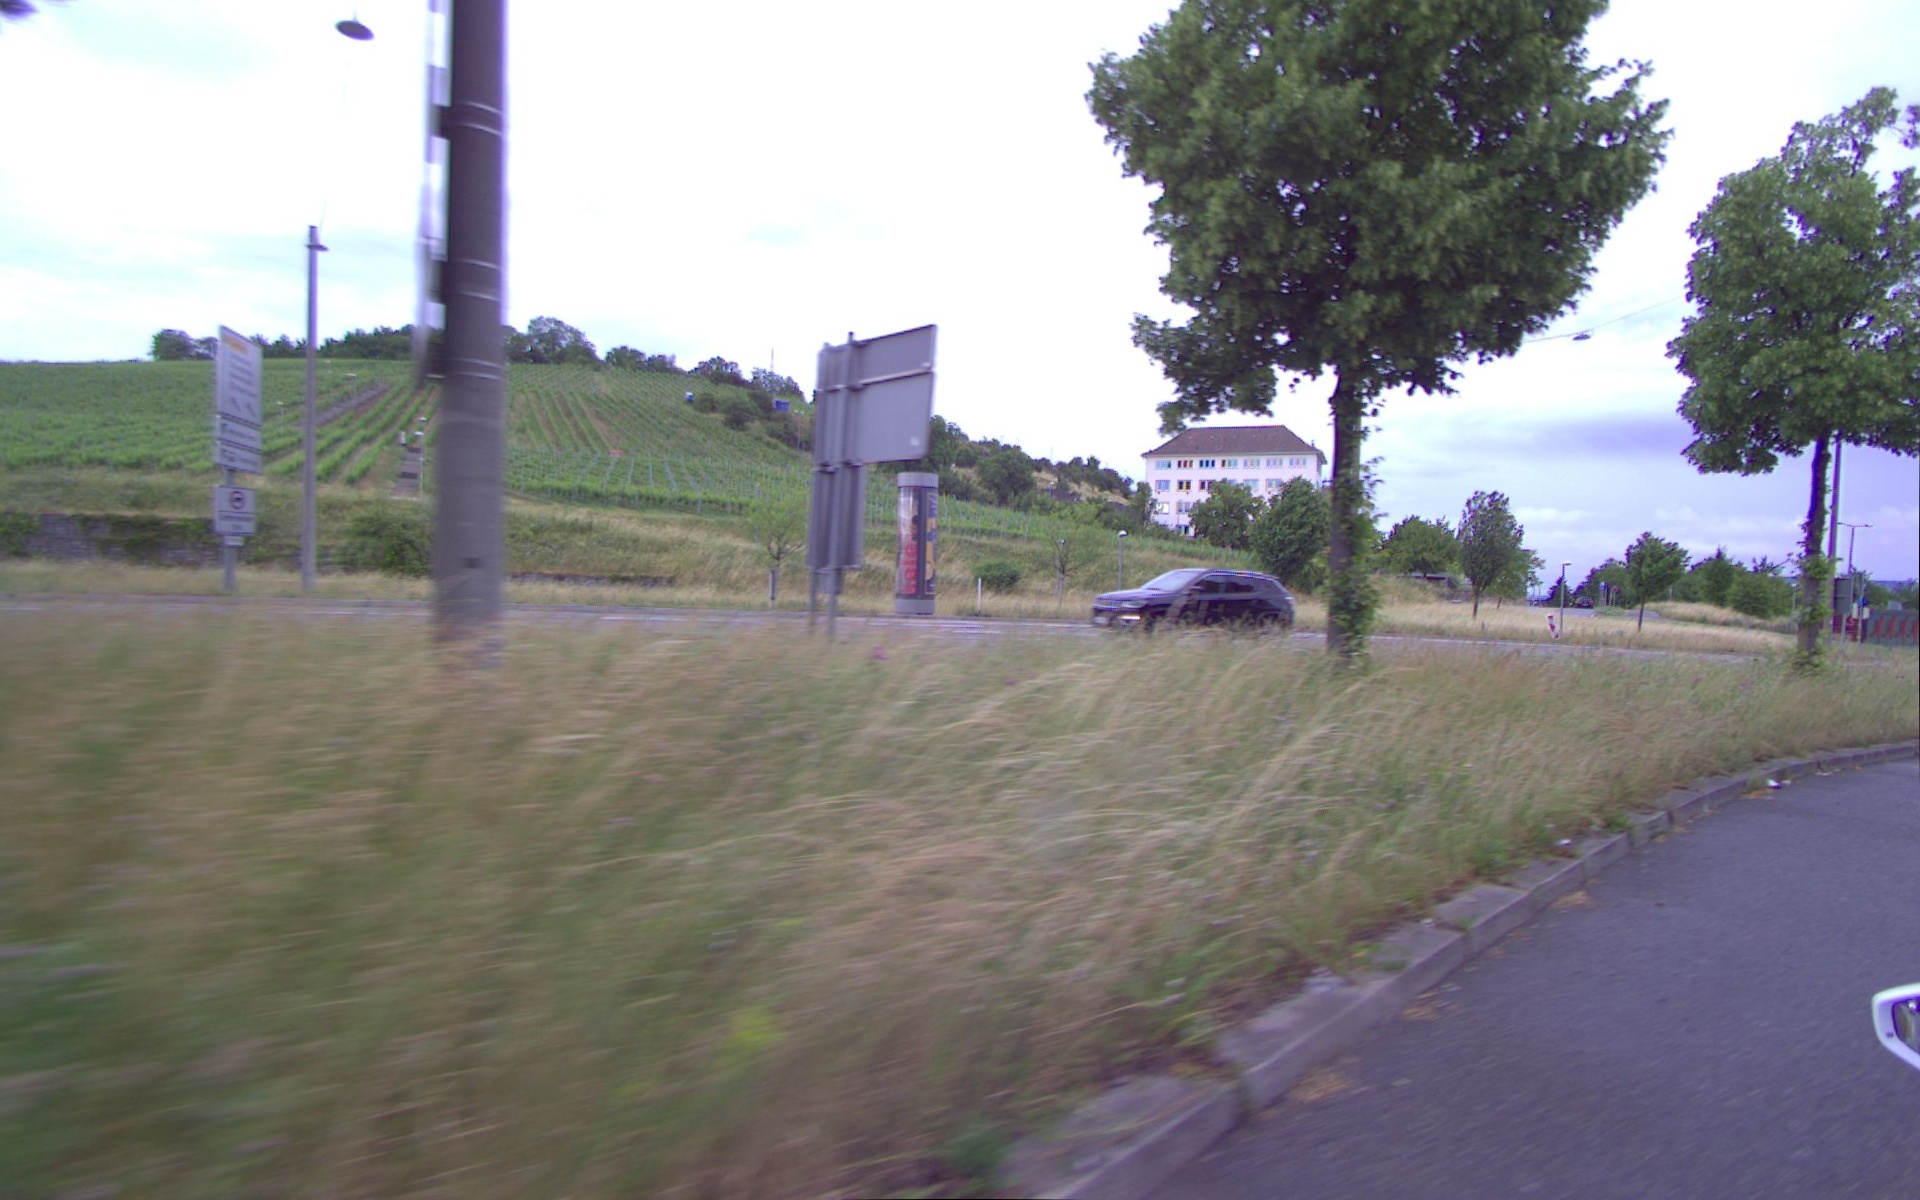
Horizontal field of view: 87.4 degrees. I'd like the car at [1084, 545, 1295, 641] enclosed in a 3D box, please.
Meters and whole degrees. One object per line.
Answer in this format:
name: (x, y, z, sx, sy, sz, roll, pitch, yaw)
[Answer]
car: (4.689, -0.120, 20.489, 3.949, 1.773, 1.761, 2, 1, -27)
